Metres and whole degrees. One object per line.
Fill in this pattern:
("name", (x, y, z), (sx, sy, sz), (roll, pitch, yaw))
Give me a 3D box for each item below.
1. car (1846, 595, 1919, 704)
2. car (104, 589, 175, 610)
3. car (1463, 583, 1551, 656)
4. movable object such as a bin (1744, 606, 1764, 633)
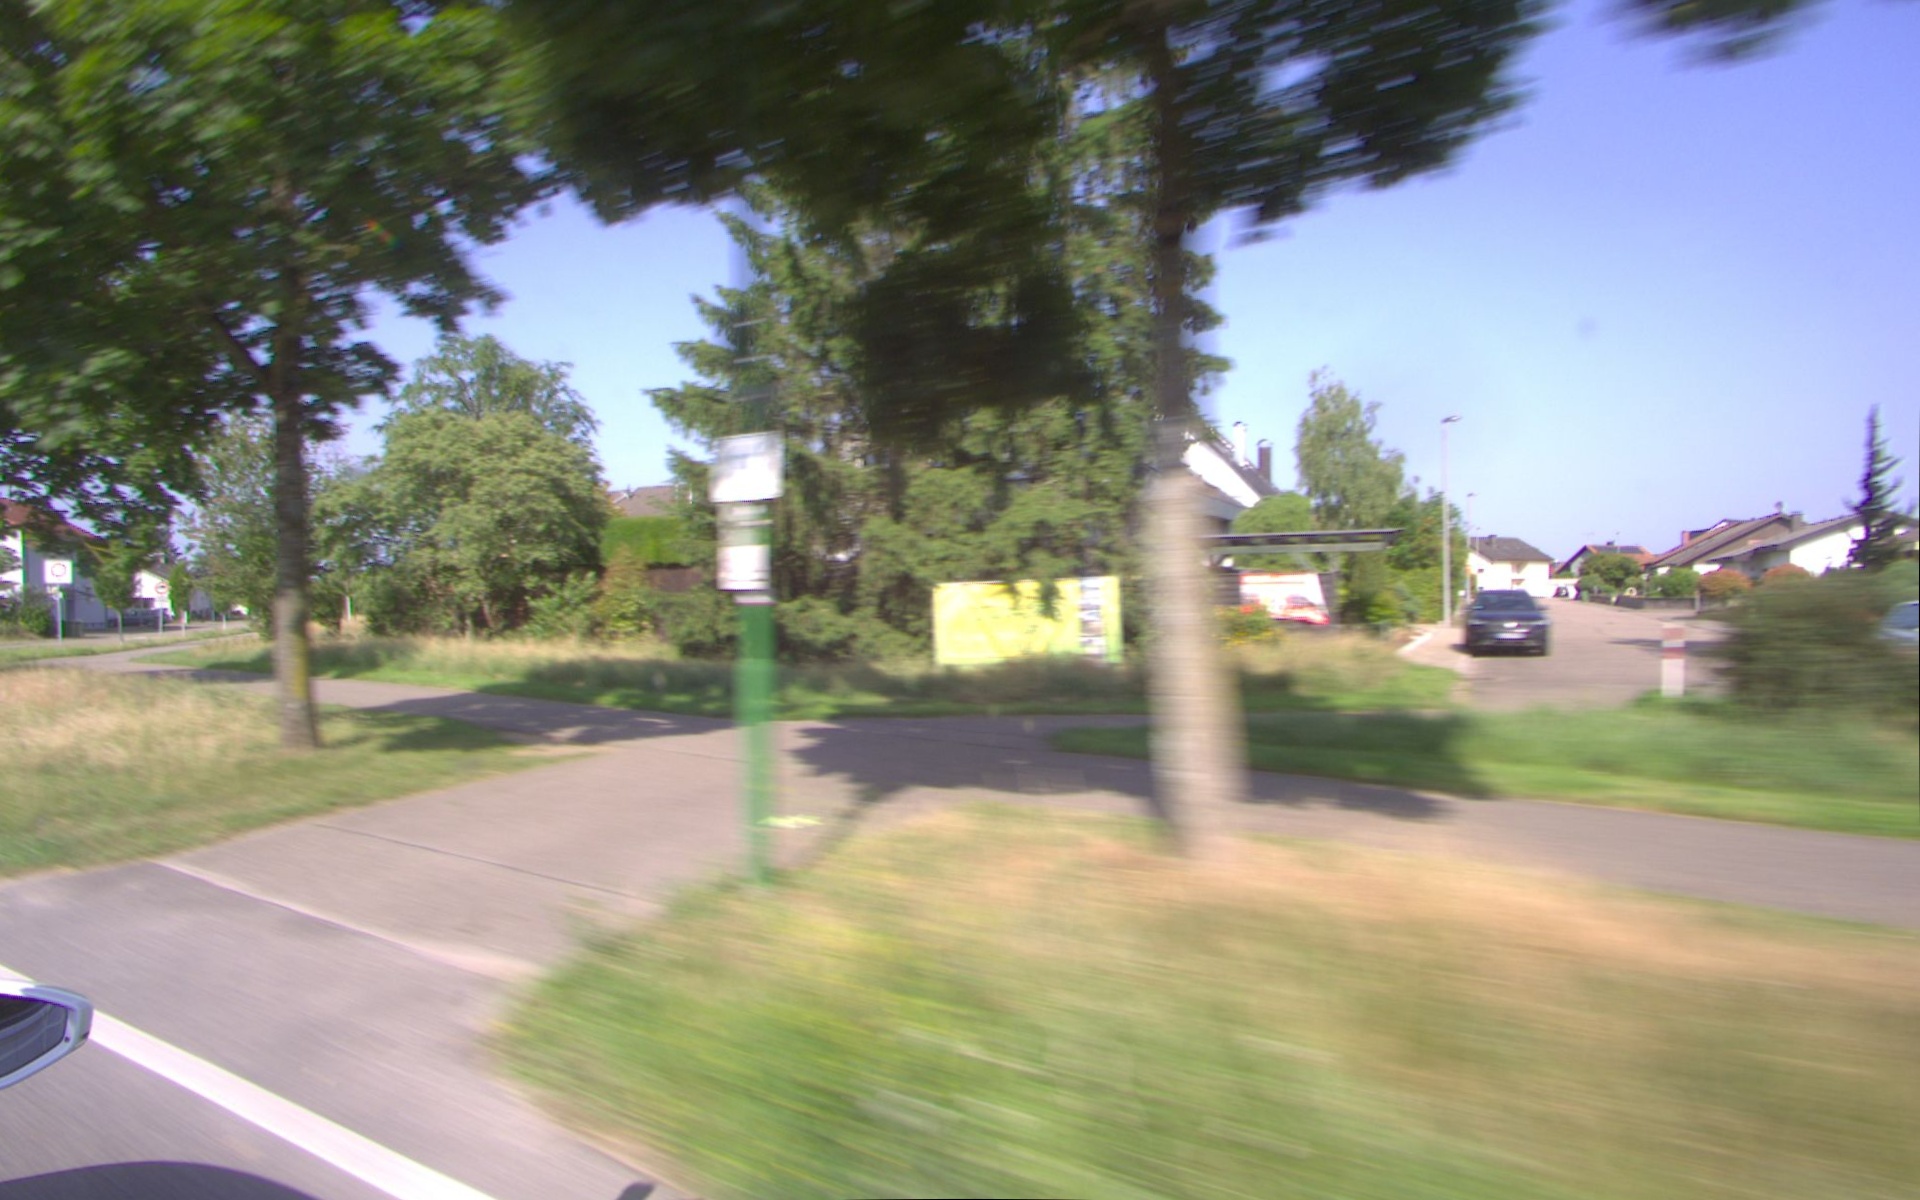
("car", (13.985, 0.662, 13.629), (1.785, 1.453, 3.986), (0, 1, 25))
("car", (-70.731, 0.014, 86.363), (4.388, 1.720, 1.765), (1, -1, -23))
("car", (13.830, 0.464, 25.258), (1.813, 1.684, 3.921), (0, 0, 30))
("movable object such as a bin", (29.763, 0.726, 37.524), (0.532, 1.001, 0.381), (0, 1, 31))
